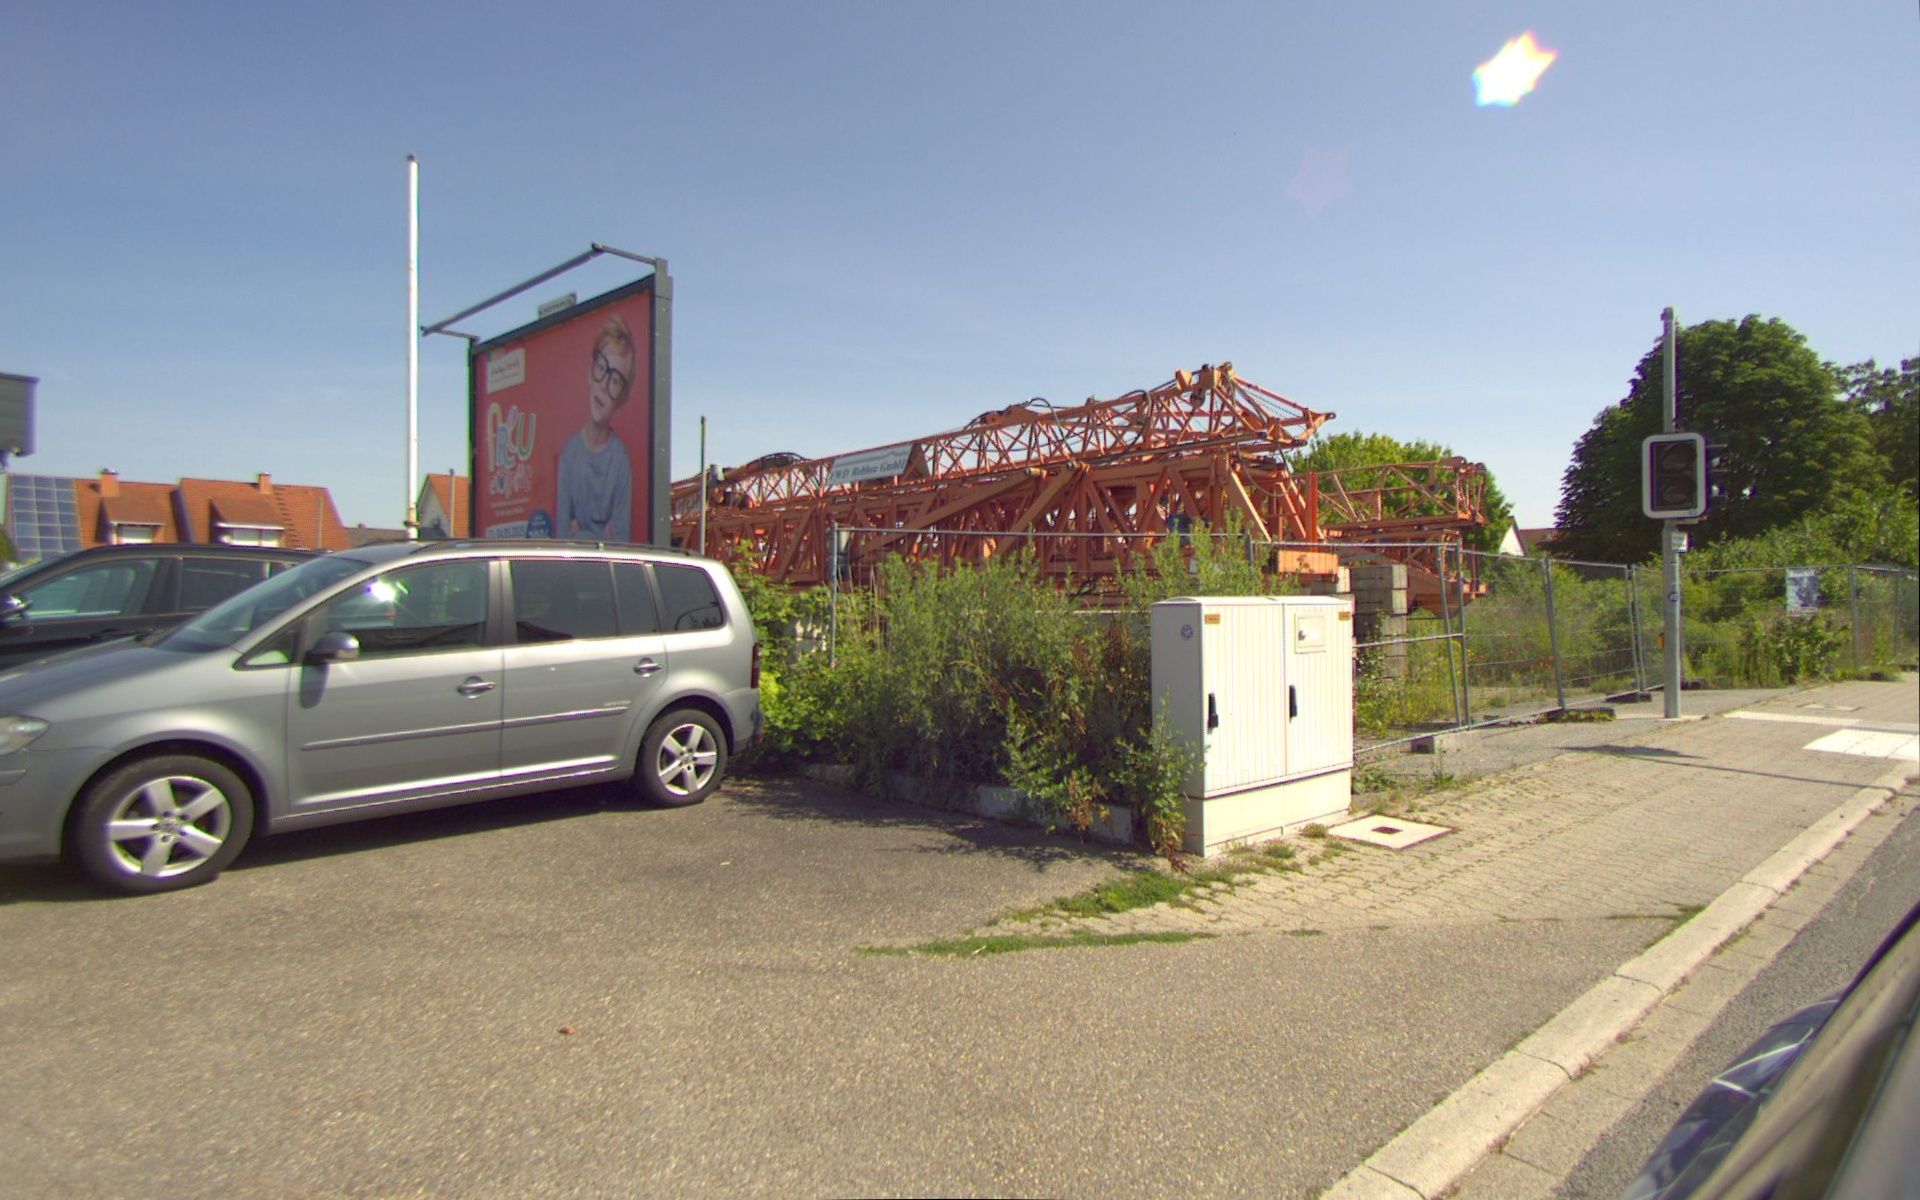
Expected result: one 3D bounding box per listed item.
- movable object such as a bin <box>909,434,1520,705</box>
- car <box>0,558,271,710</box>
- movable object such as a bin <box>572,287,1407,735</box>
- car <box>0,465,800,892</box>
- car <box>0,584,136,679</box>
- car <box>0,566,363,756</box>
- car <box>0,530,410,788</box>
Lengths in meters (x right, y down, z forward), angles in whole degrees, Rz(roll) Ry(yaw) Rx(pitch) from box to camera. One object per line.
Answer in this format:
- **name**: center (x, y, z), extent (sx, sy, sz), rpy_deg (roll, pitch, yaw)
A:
- **movable object such as a bin**: center (4.251, -0.557, 21.569), extent (2.815, 4.218, 13.267), rpy_deg (0, 0, -43)
- **car**: center (-10.722, 0.342, 11.653), extent (1.997, 1.612, 4.275), rpy_deg (1, 1, 41)
- **movable object such as a bin**: center (-1.567, -0.910, 16.026), extent (2.727, 4.069, 16.068), rpy_deg (0, 0, -43)
- **car**: center (-3.241, 0.317, 6.024), extent (1.804, 1.707, 4.300), rpy_deg (2, 1, 43)
- **car**: center (-15.248, 0.457, 15.128), extent (1.839, 1.404, 4.312), rpy_deg (1, 1, 41)
- **car**: center (-8.335, 0.499, 9.813), extent (1.839, 1.612, 4.045), rpy_deg (1, 1, 41)
- **car**: center (-6.445, 0.355, 7.311), extent (1.968, 1.612, 3.941), rpy_deg (1, 1, 41)
